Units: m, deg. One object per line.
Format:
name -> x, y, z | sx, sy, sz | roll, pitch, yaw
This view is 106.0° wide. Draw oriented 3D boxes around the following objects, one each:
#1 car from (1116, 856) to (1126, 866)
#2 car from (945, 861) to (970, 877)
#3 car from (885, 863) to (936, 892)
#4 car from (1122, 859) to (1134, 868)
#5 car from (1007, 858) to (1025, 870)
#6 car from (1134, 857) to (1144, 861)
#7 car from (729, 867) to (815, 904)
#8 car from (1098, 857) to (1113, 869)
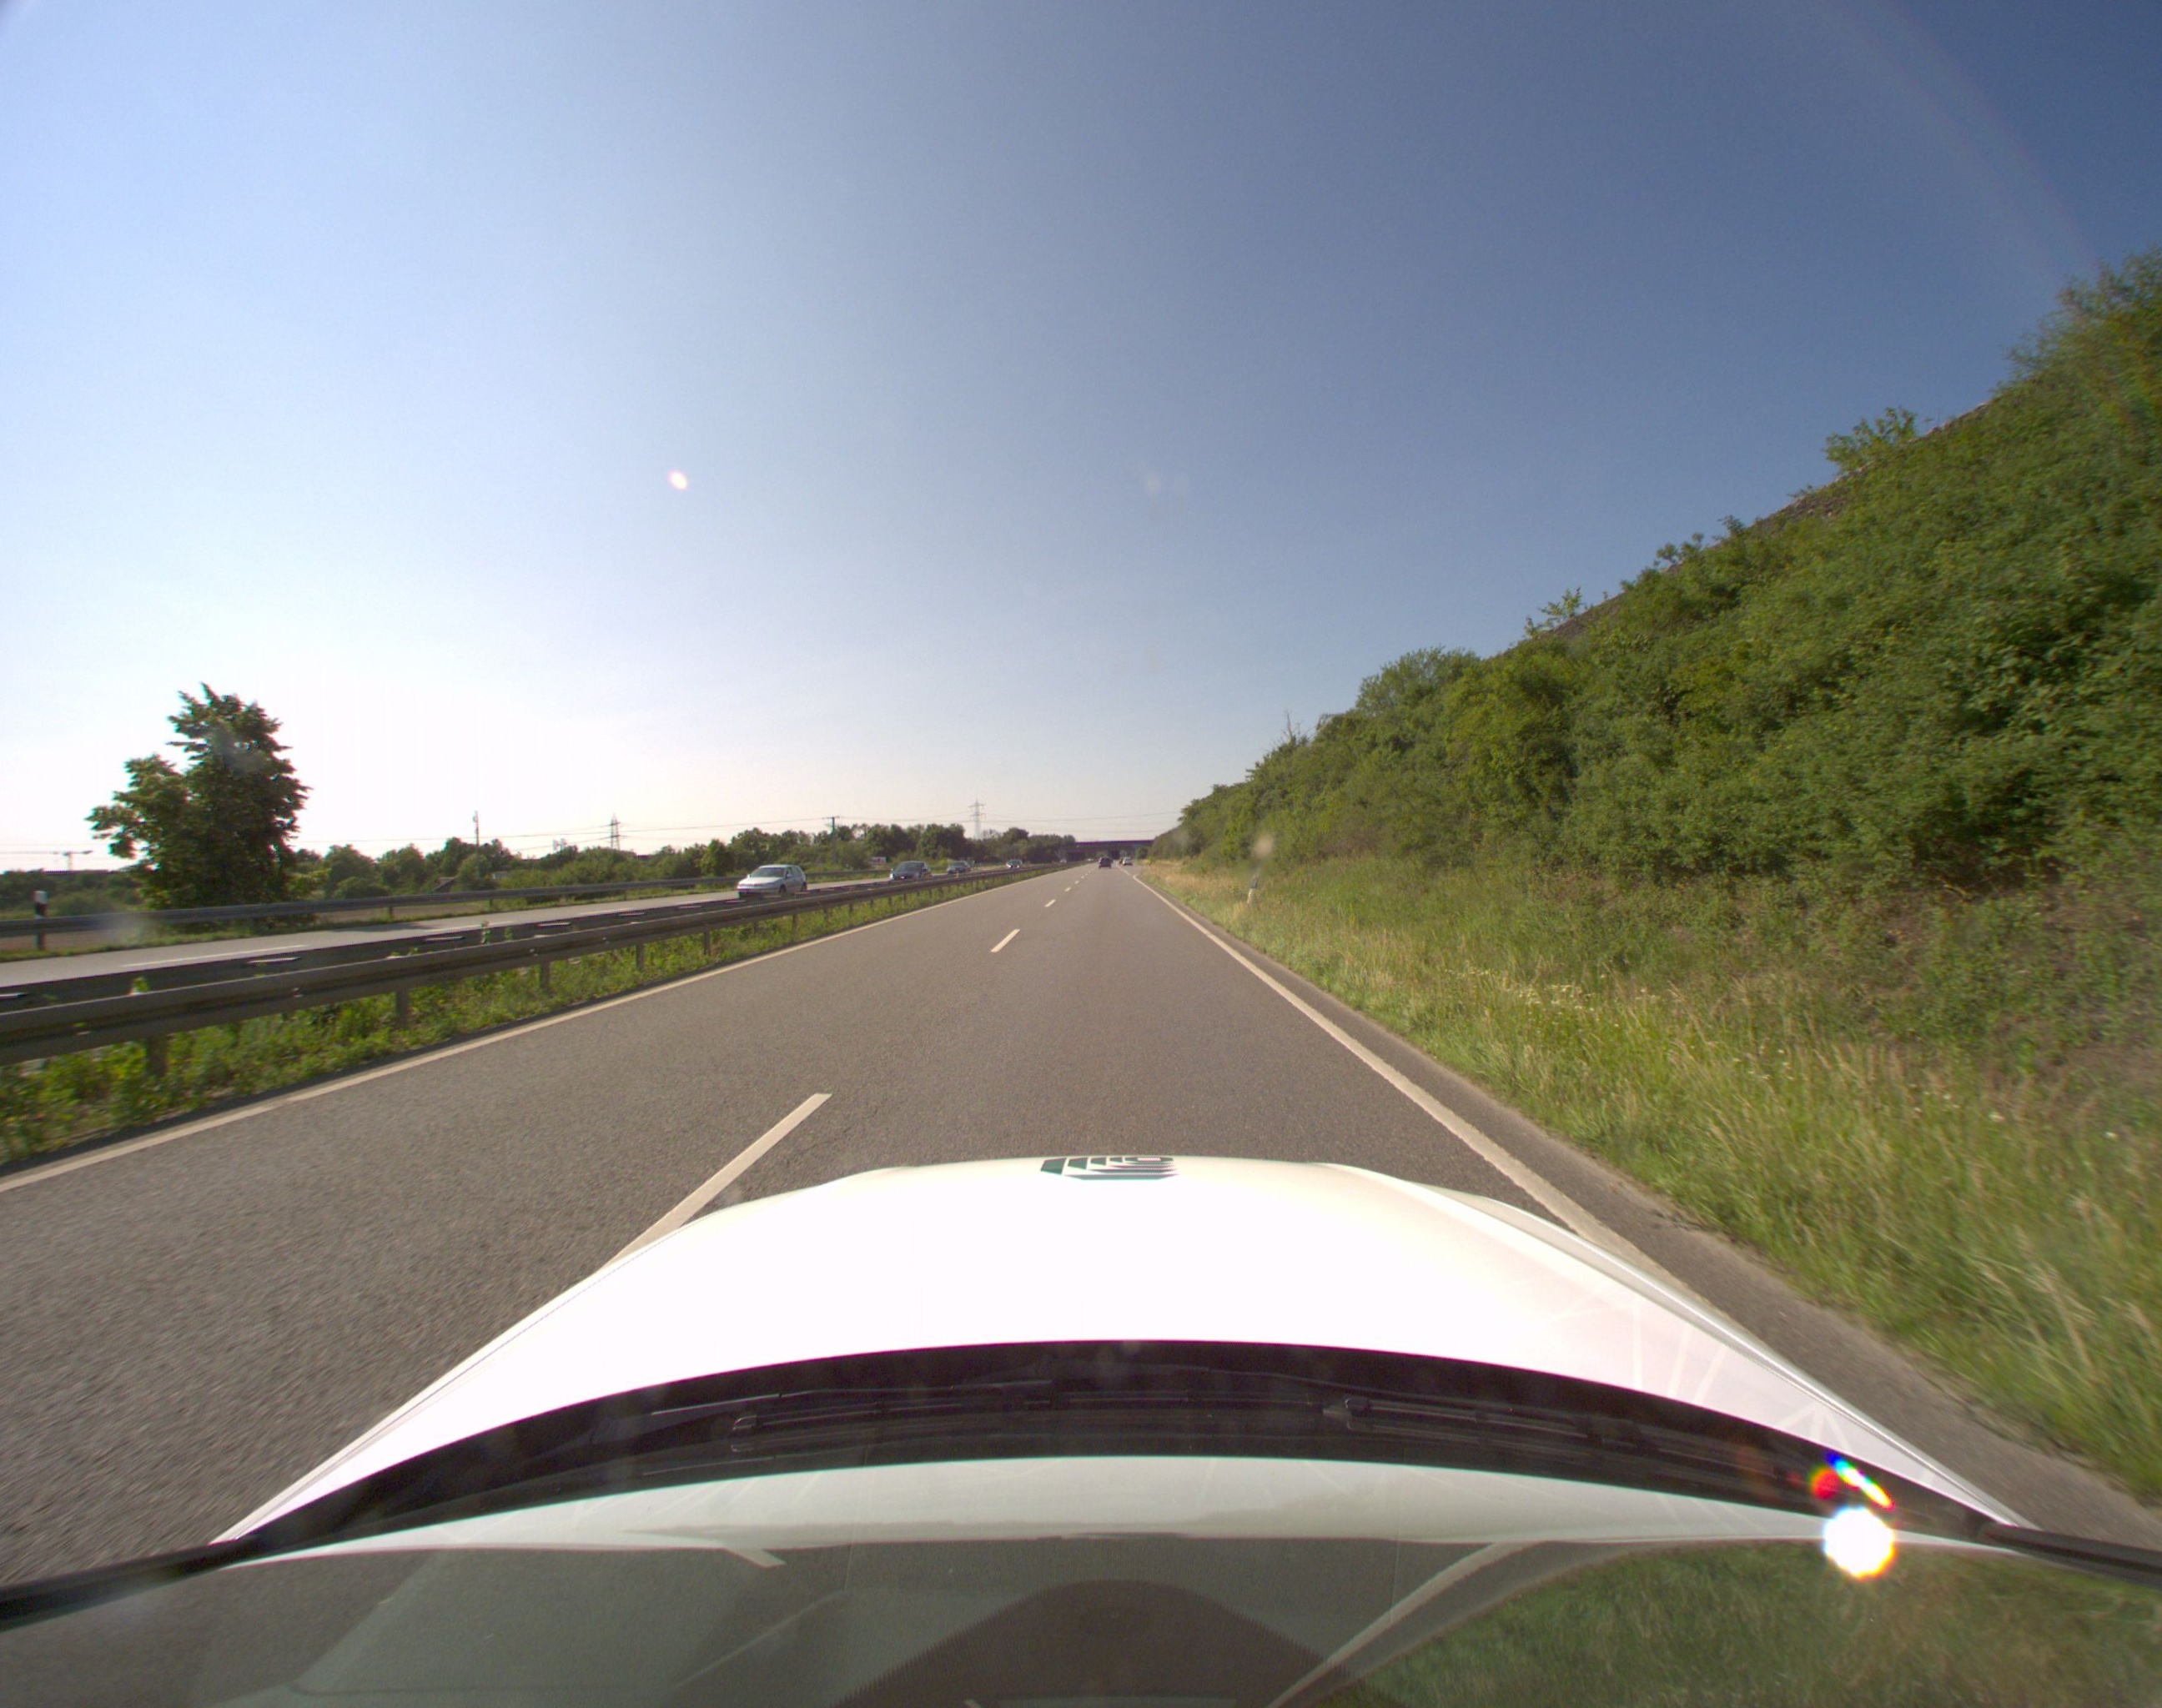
car -> 8.998, 1.587, 182.944 | 1.986, 2.013, 4.002 | -4, 0, 2
car -> -12.385, 1.518, 81.959 | 1.707, 1.450, 4.323 | -2, 0, 0
car -> -9.244, 1.235, 44.490 | 1.706, 1.470, 4.417 | 0, 0, 2
car -> 8.573, 1.749, 147.513 | 1.785, 1.665, 4.011 | 0, 0, 9
car -> -8.056, 1.250, 101.512 | 1.808, 1.473, 4.325 | -1, 0, 2
car -> 15.980, 1.367, 224.107 | 1.887, 1.298, 4.017 | 0, 0, 16
car -> -13.011, 1.297, 34.611 | 1.814, 1.396, 4.417 | 0, 0, 2
car -> 3.578, 1.239, 117.064 | 1.841, 1.644, 4.005 | -2, -1, 4
